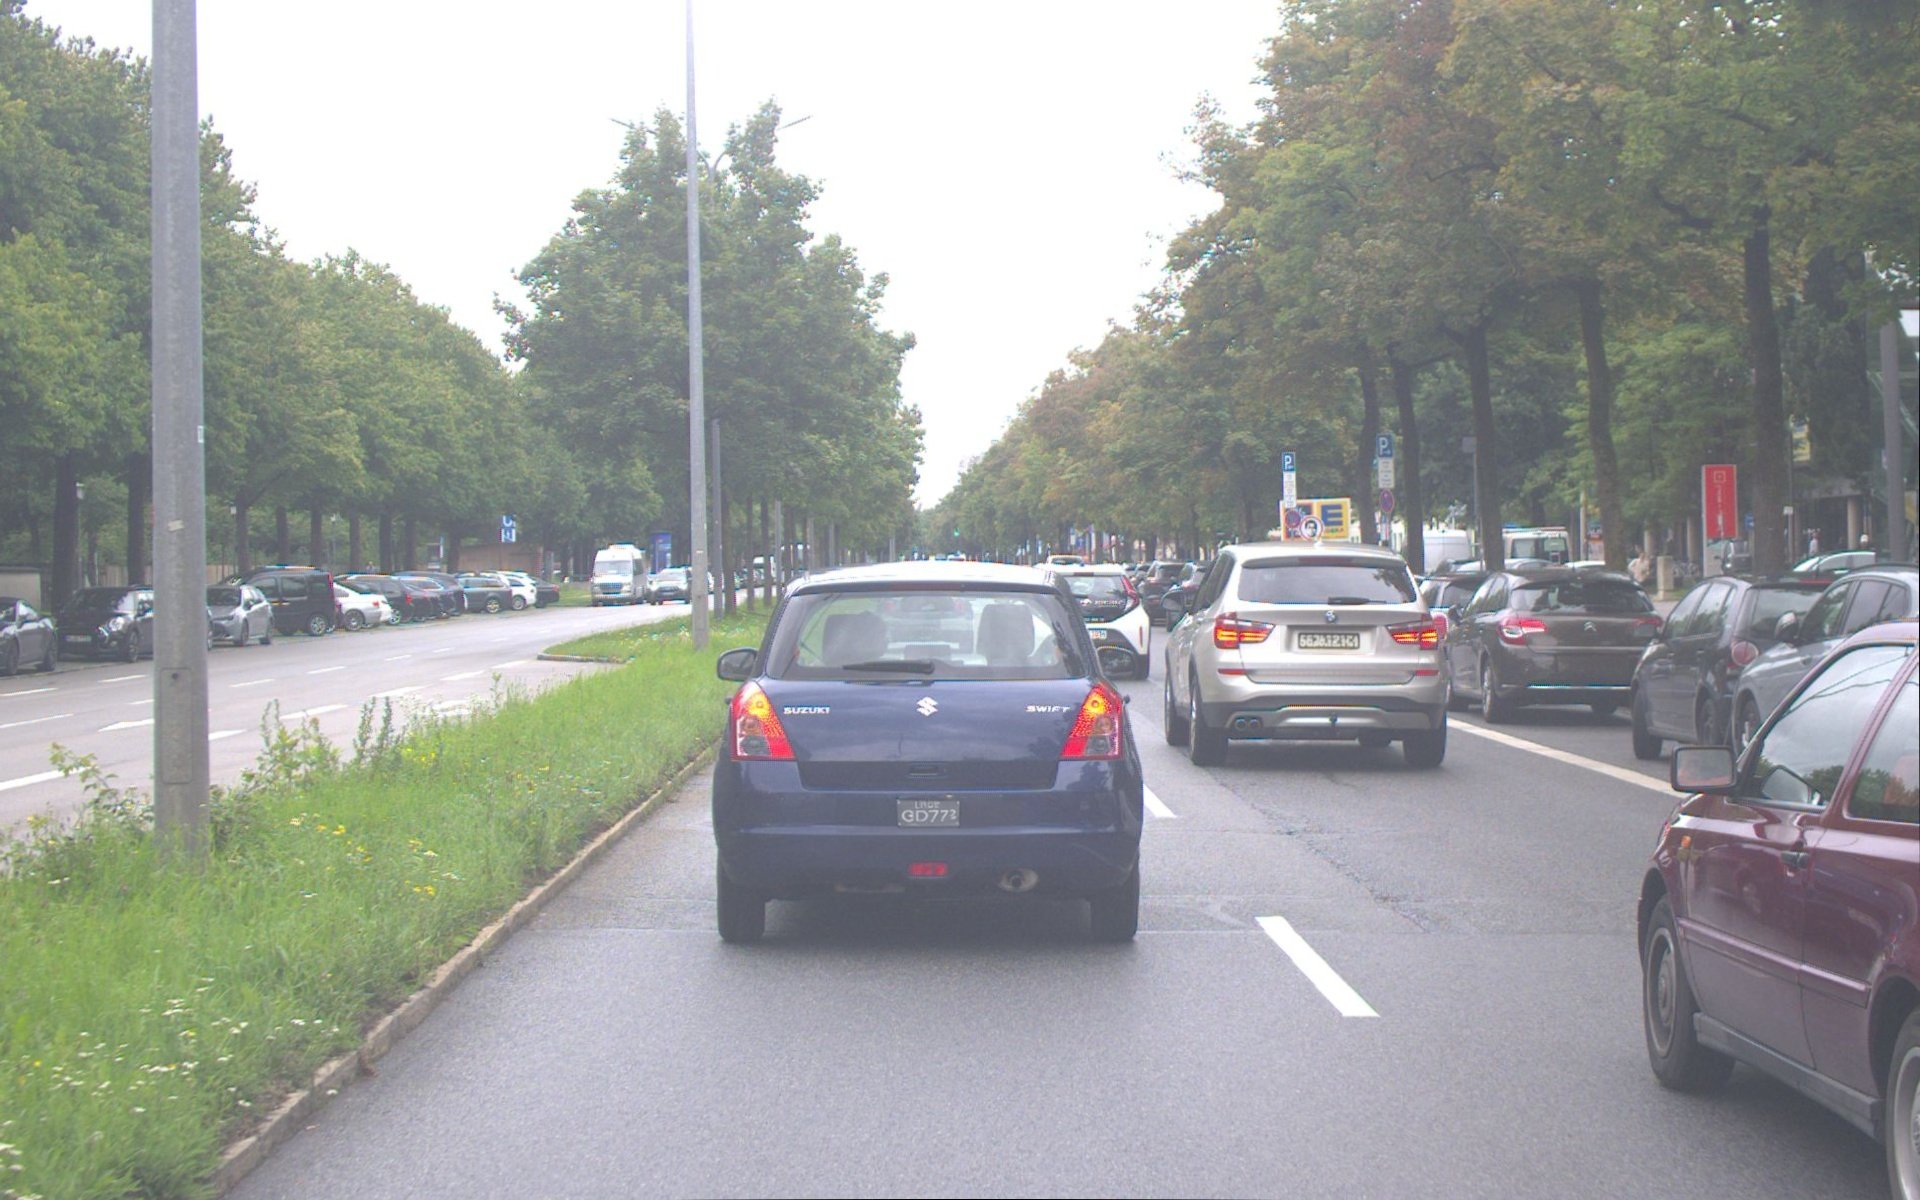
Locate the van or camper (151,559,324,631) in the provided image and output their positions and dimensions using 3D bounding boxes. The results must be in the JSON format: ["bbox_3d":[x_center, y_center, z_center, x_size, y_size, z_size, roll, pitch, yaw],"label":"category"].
[{"bbox_3d":[-19.208,-0.156,91.502,4.113,1.848,1.849,-1,1,-41],"label":"van or camper"}]

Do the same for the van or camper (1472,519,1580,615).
[{"bbox_3d":[15.678,-0.922,95.496,1.993,2.549,5.957,-1,1,0],"label":"van or camper"}]

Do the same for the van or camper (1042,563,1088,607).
[{"bbox_3d":[4.732,-0.706,155.680,1.944,1.968,4.306,0,1,0],"label":"van or camper"}]

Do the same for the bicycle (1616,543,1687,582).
[{"bbox_3d":[27.270,-1.486,135.655,2.609,1.503,0.798,-1,1,-6],"label":"bicycle"}]

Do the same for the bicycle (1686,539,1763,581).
[{"bbox_3d":[28.206,-1.488,126.838,2.609,1.503,0.798,-1,1,-6],"label":"bicycle"}]

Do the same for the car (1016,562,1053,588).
[{"bbox_3d":[4.197,-1.393,194.061,1.850,1.442,4.098,0,1,-2],"label":"car"}]

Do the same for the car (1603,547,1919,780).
[{"bbox_3d":[5.991,0.418,25.541,1.542,1.529,4.091,3,1,-1],"label":"car"}]

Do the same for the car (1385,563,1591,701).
[{"bbox_3d":[5.860,0.319,38.558,1.634,1.448,4.078,0,1,0],"label":"car"}]

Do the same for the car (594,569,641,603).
[{"bbox_3d":[-15.930,-0.662,159.996,1.913,1.537,4.188,-1,1,-2],"label":"car"}]

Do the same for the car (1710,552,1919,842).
[{"bbox_3d":[5.800,0.494,20.300,1.720,1.529,4.399,1,1,-1],"label":"car"}]

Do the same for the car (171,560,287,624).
[{"bbox_3d":[-17.204,-0.204,81.089,1.636,1.434,4.809,1,1,1],"label":"car"}]

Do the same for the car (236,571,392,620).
[{"bbox_3d":[-18.515,-0.144,98.560,3.987,1.349,1.850,-1,1,-35],"label":"car"}]

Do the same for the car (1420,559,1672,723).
[{"bbox_3d":[5.708,0.357,33.932,1.717,1.503,4.224,0,1,0],"label":"car"}]

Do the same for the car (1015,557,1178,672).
[{"bbox_3d":[1.767,0.159,45.647,1.850,1.442,4.098,0,1,-2],"label":"car"}]

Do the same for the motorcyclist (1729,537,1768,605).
[{"bbox_3d":[20.932,-0.774,91.273,0.691,1.731,0.953,-5,0,0],"label":"motorcyclist"}]

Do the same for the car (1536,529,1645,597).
[{"bbox_3d":[15.928,-0.944,87.039,1.993,1.645,4.000,-1,1,0],"label":"car"}]

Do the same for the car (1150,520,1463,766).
[{"bbox_3d":[2.574,0.283,26.467,1.850,1.737,4.098,0,1,-2],"label":"car"}]

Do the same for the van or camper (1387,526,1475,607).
[{"bbox_3d":[15.331,-1.098,112.151,2.024,2.549,5.957,-1,1,0],"label":"van or camper"}]

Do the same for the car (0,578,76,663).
[{"bbox_3d":[-16.941,0.335,60.356,1.659,1.391,4.707,1,1,-1],"label":"car"}]

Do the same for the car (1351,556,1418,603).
[{"bbox_3d":[15.231,-0.749,123.640,1.684,1.627,4.499,0,1,-2],"label":"car"}]

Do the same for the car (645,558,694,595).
[{"bbox_3d":[-12.743,-1.041,150.813,1.913,1.537,4.188,-1,1,-2],"label":"car"}]

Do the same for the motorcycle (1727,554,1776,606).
[{"bbox_3d":[20.951,-0.534,91.019,0.696,1.286,2.066,-5,1,0],"label":"motorcycle"}]

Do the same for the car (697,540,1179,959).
[{"bbox_3d":[-0.151,0.537,14.857,1.789,1.550,4.000,0,1,-2],"label":"car"}]

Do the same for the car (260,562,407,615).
[{"bbox_3d":[-19.501,-0.369,107.077,4.096,1.592,1.919,-1,1,-39],"label":"car"}]

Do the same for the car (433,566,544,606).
[{"bbox_3d":[-19.531,-0.579,142.398,4.095,1.579,1.919,-1,1,-33],"label":"car"}]

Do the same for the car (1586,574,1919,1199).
[{"bbox_3d":[2.751,0.668,8.480,1.622,1.449,3.950,0,1,-1],"label":"car"}]

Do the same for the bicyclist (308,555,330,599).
[{"bbox_3d":[-25.287,-0.906,135.670,0.705,1.741,0.923,-1,0,0],"label":"bicyclist"}]

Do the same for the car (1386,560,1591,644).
[{"bbox_3d":[10.622,0.025,68.860,1.971,1.619,4.836,0,0,37],"label":"car"}]

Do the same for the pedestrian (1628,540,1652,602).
[{"bbox_3d":[19.261,-0.820,97.332,0.575,1.745,0.732,0,0,4],"label":"pedestrian"}]

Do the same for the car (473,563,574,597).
[{"bbox_3d":[-19.234,-0.863,151.666,4.094,1.469,1.705,0,0,-33],"label":"car"}]

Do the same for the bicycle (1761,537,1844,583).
[{"bbox_3d":[27.942,-1.330,114.016,2.609,1.503,0.798,-1,1,-14],"label":"bicycle"}]

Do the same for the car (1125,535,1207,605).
[{"bbox_3d":[5.149,-0.752,86.449,1.761,1.695,4.820,0,1,0],"label":"car"}]

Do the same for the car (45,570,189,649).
[{"bbox_3d":[-16.826,0.173,68.780,1.571,1.498,4.303,1,1,3],"label":"car"}]
